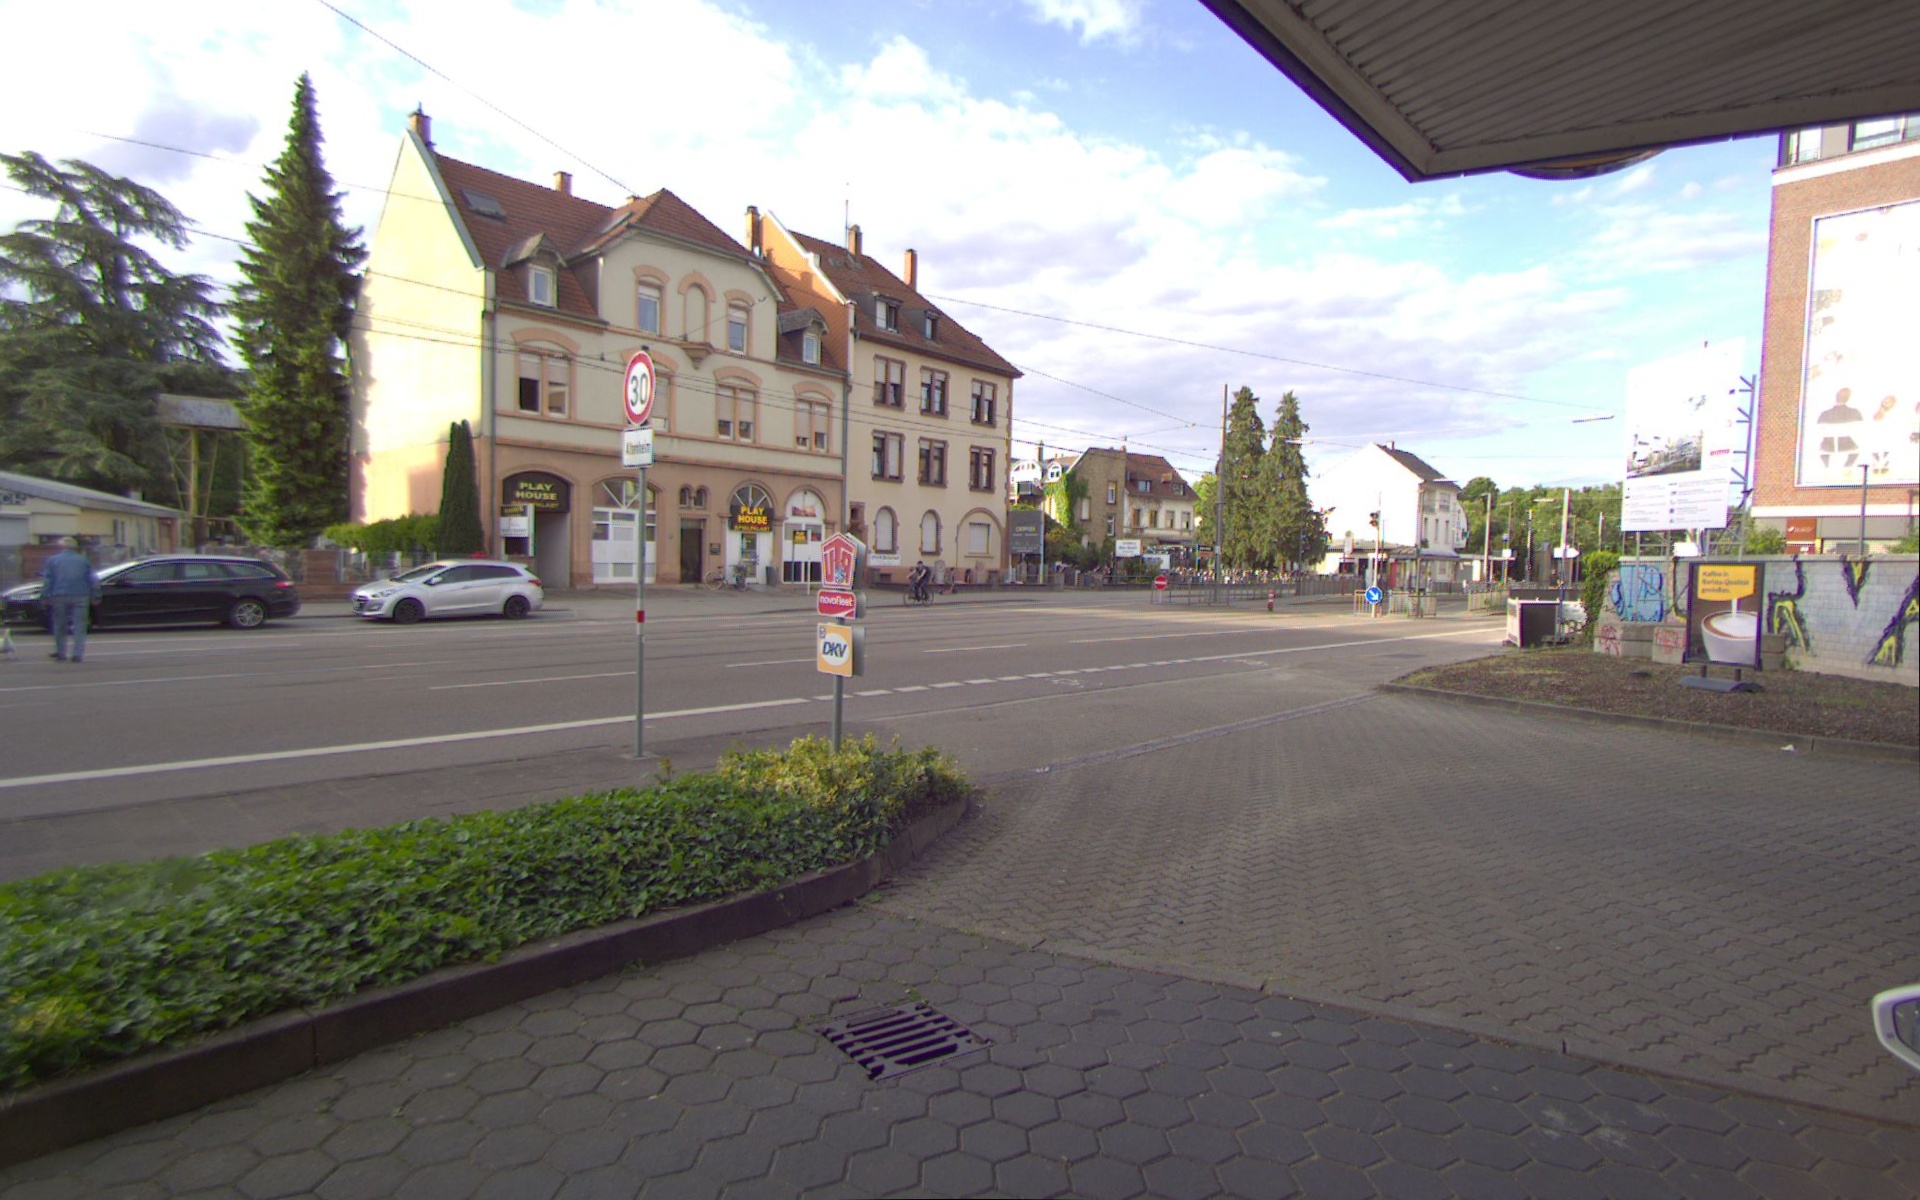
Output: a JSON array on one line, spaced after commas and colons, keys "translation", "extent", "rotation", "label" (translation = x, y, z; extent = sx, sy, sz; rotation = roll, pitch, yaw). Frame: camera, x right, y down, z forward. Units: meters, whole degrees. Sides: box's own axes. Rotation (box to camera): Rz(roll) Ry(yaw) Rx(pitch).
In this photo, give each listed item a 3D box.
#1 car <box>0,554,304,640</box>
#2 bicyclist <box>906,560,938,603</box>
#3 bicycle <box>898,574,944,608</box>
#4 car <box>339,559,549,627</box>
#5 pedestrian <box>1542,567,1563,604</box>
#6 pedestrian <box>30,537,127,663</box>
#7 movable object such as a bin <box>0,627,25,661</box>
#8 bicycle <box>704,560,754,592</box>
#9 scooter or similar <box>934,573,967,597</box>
[{"translation": [-16.592, -0.132, 20.740], "extent": [1.983, 1.520, 4.755], "rotation": [4, 4, 39], "label": "car"}, {"translation": [-1.414, -0.688, 37.411], "extent": [0.669, 1.555, 1.081], "rotation": [1, 2, 37], "label": "bicyclist"}, {"translation": [-1.425, -0.343, 37.421], "extent": [0.669, 1.239, 1.912], "rotation": [1, 2, 36], "label": "bicycle"}, {"translation": [-12.911, -0.227, 25.362], "extent": [1.699, 1.503, 4.434], "rotation": [4, 4, 40], "label": "car"}, {"translation": [33.180, -0.797, 56.204], "extent": [0.797, 2.040, 0.845], "rotation": [2, 0, 44], "label": "pedestrian"}, {"translation": [-12.399, -0.016, 14.157], "extent": [0.996, 1.690, 0.959], "rotation": [0, 3, -41], "label": "pedestrian"}, {"translation": [-13.431, 0.613, 14.037], "extent": [0.670, 0.426, 0.478], "rotation": [4, 3, 41], "label": "movable object such as a bin"}, {"translation": [-9.099, -0.946, 39.616], "extent": [0.665, 1.229, 1.862], "rotation": [4, 2, 41], "label": "bicycle"}, {"translation": [-0.429, -0.656, 45.118], "extent": [0.461, 1.041, 1.655], "rotation": [4, 3, 40], "label": "scooter or similar"}]
